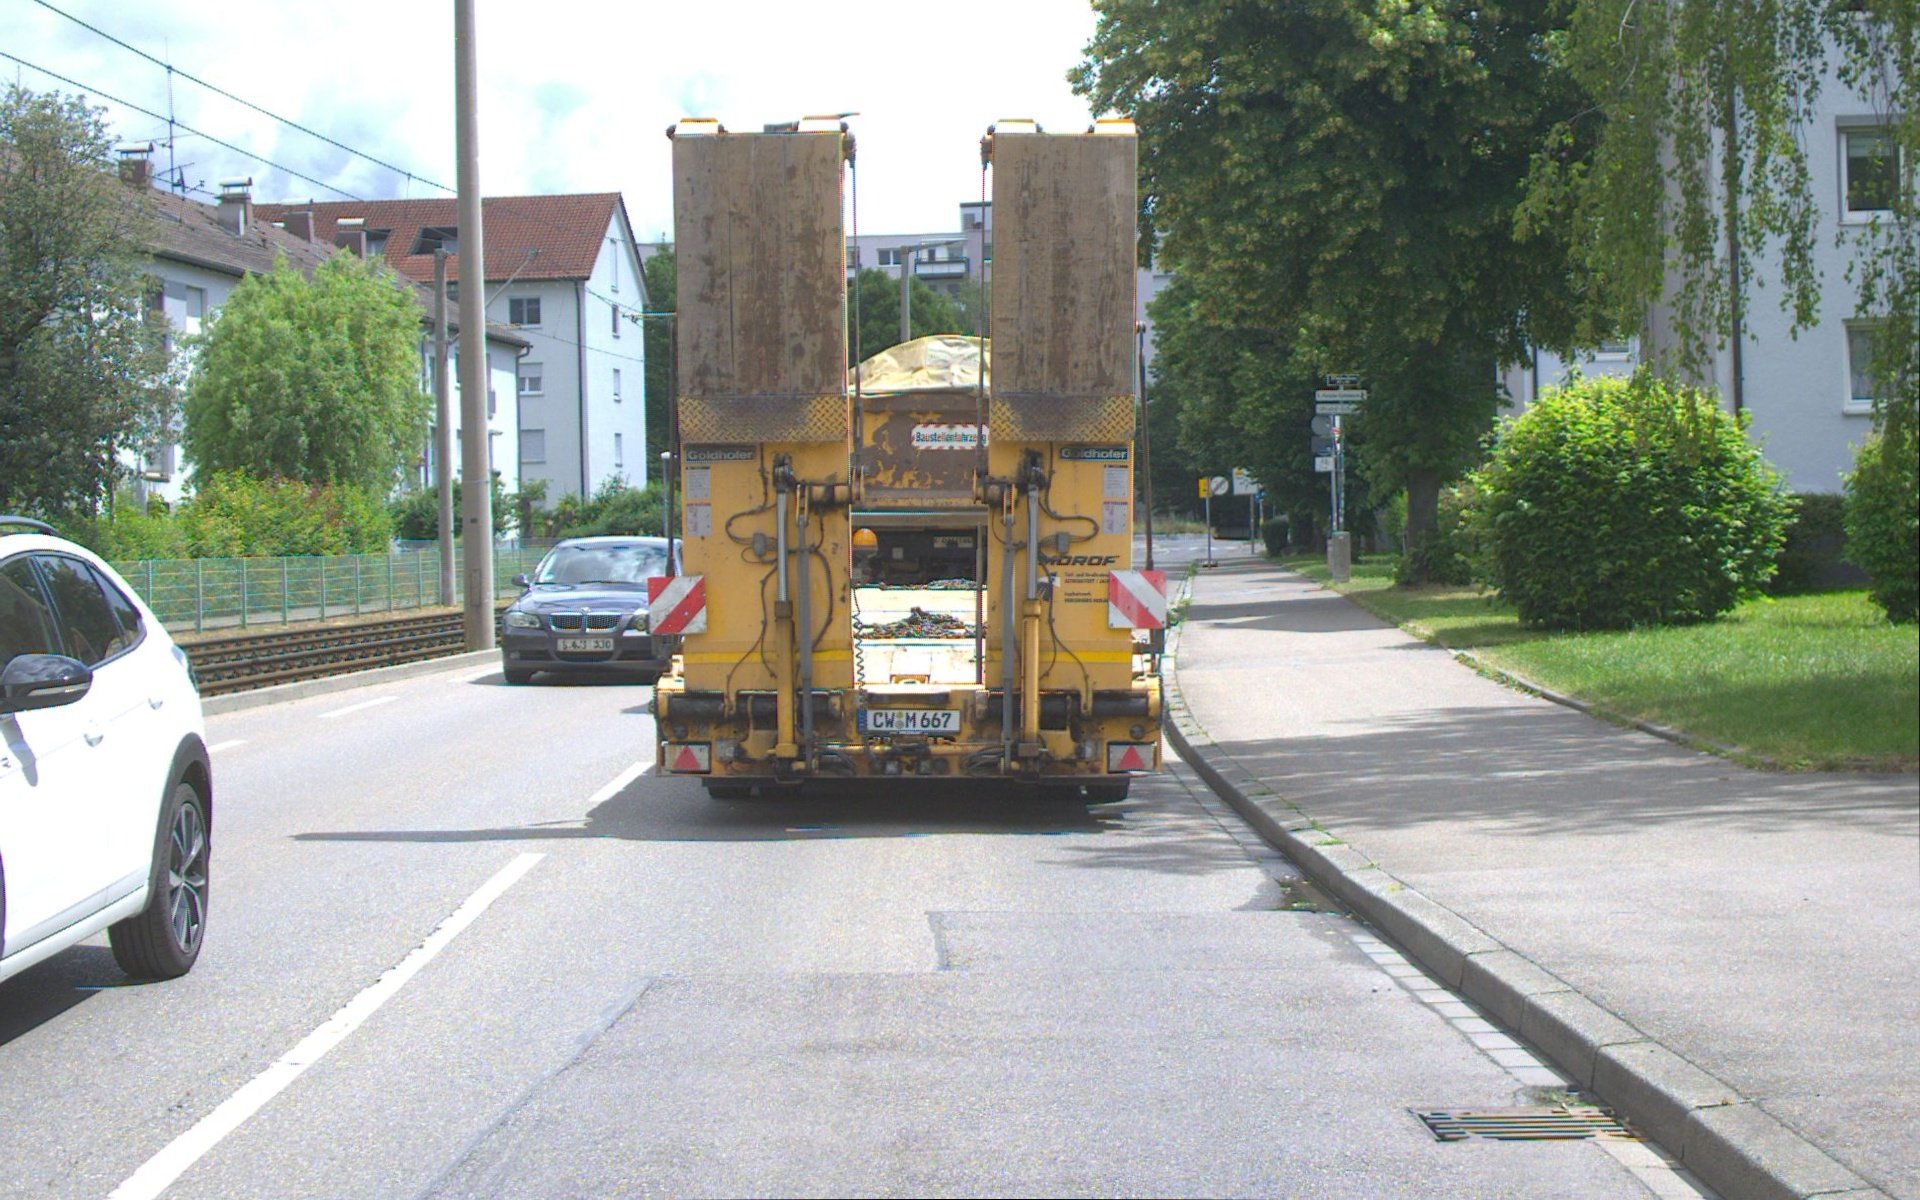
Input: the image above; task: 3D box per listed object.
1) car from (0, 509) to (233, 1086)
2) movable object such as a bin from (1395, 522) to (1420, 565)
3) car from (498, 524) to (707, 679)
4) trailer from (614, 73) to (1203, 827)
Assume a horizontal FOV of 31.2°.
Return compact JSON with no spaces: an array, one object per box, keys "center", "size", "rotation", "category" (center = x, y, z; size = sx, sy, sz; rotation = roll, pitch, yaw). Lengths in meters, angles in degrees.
[{"center":[-3.446,0.509,10.067],"size":[1.760,1.546,4.000],"rotation":[0,1,0],"category":"car"},{"center":[10.015,-1.262,76.947],"size":[0.496,0.951,0.580],"rotation":[-2,1,4],"category":"movable object such as a bin"},{"center":[-3.500,-0.032,34.268],"size":[1.628,1.427,4.167],"rotation":[0,1,0],"category":"car"},{"center":[-0.323,-0.859,22.888],"size":[2.827,3.633,12.355],"rotation":[1,1,-1],"category":"trailer"}]
